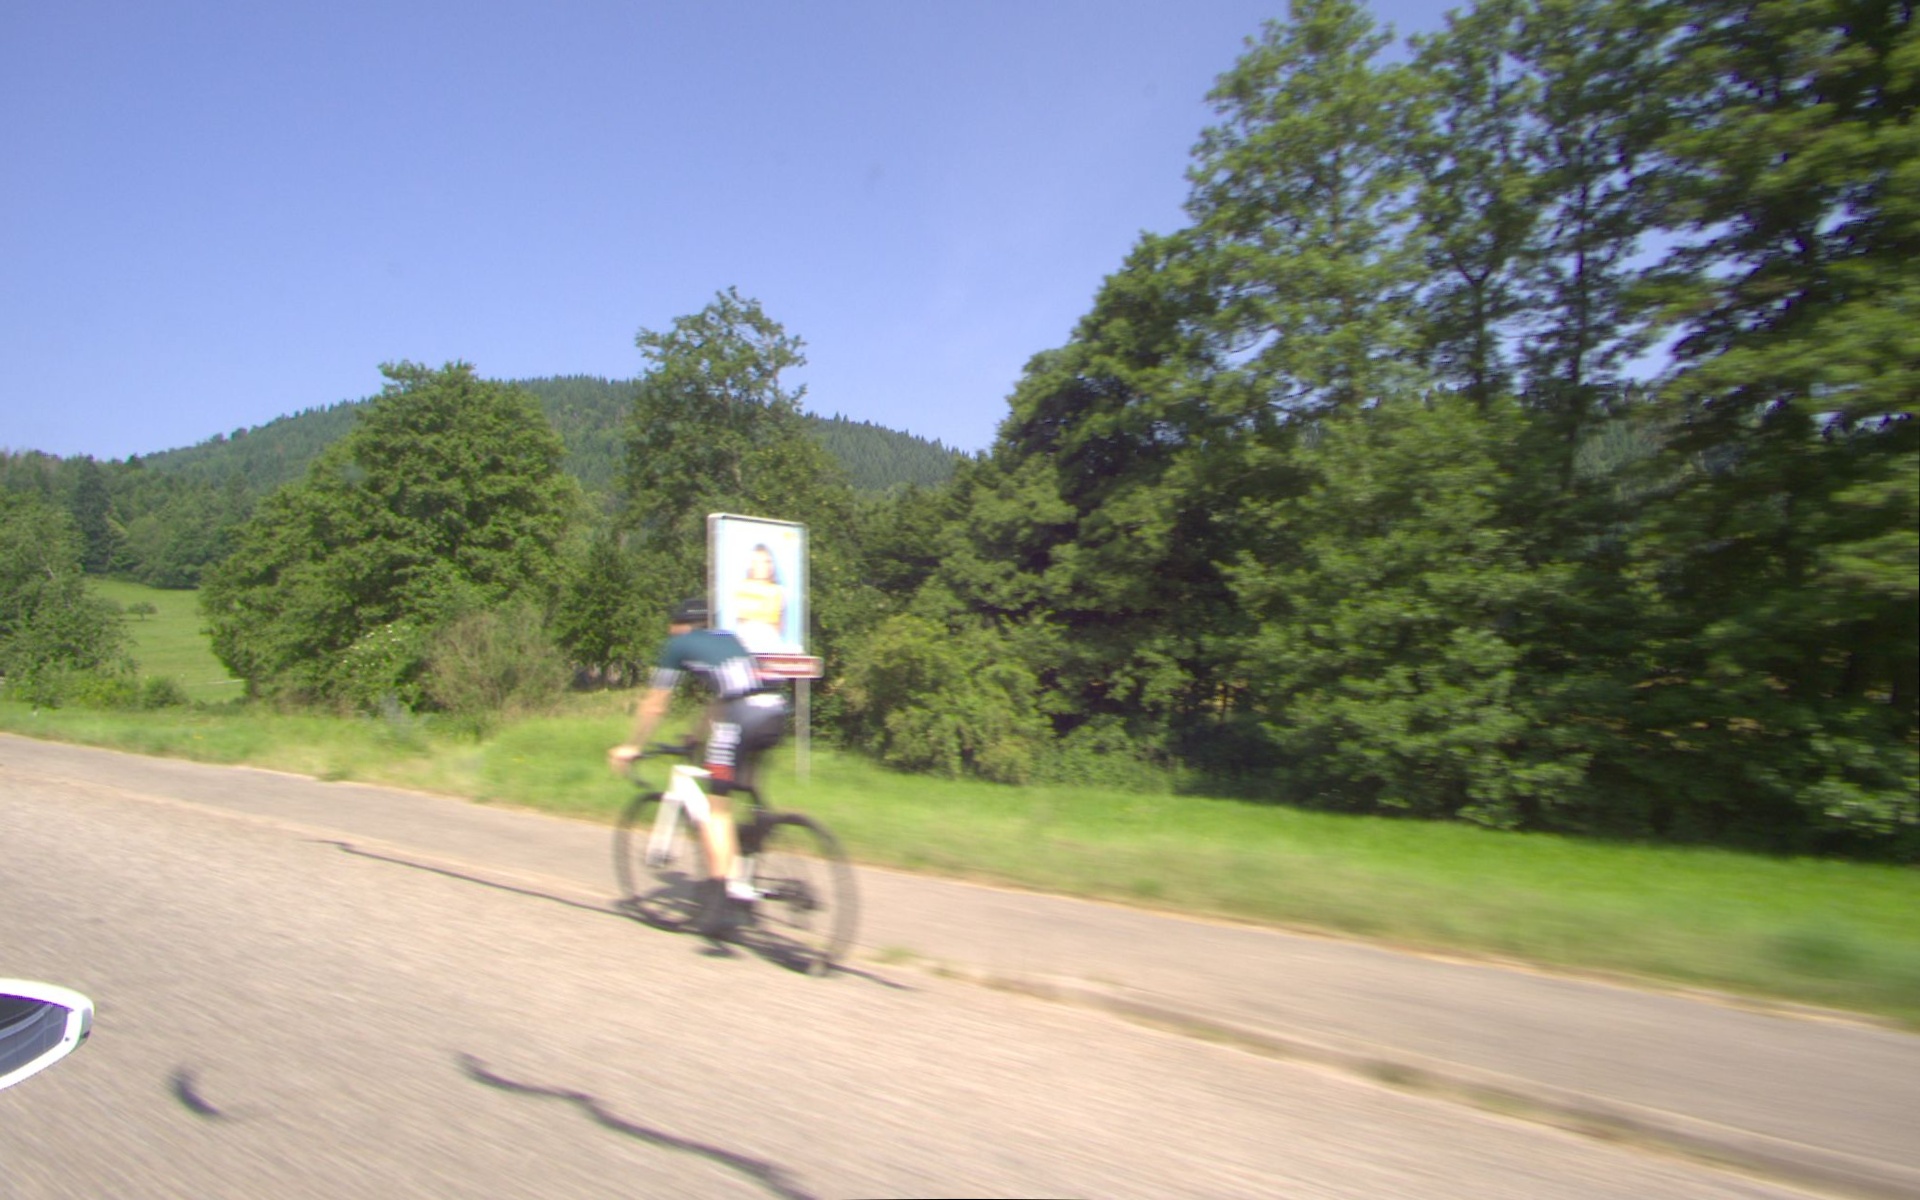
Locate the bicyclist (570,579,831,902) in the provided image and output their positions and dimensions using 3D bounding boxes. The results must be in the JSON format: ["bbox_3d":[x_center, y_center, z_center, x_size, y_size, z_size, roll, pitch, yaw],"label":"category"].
[{"bbox_3d":[-1.241,0.604,4.767,1.128,1.360,0.578,-1,0,31],"label":"bicyclist"}]

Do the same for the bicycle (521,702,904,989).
[{"bbox_3d":[-1.244,1.076,4.828,1.961,1.048,0.578,-1,0,31],"label":"bicycle"}]
